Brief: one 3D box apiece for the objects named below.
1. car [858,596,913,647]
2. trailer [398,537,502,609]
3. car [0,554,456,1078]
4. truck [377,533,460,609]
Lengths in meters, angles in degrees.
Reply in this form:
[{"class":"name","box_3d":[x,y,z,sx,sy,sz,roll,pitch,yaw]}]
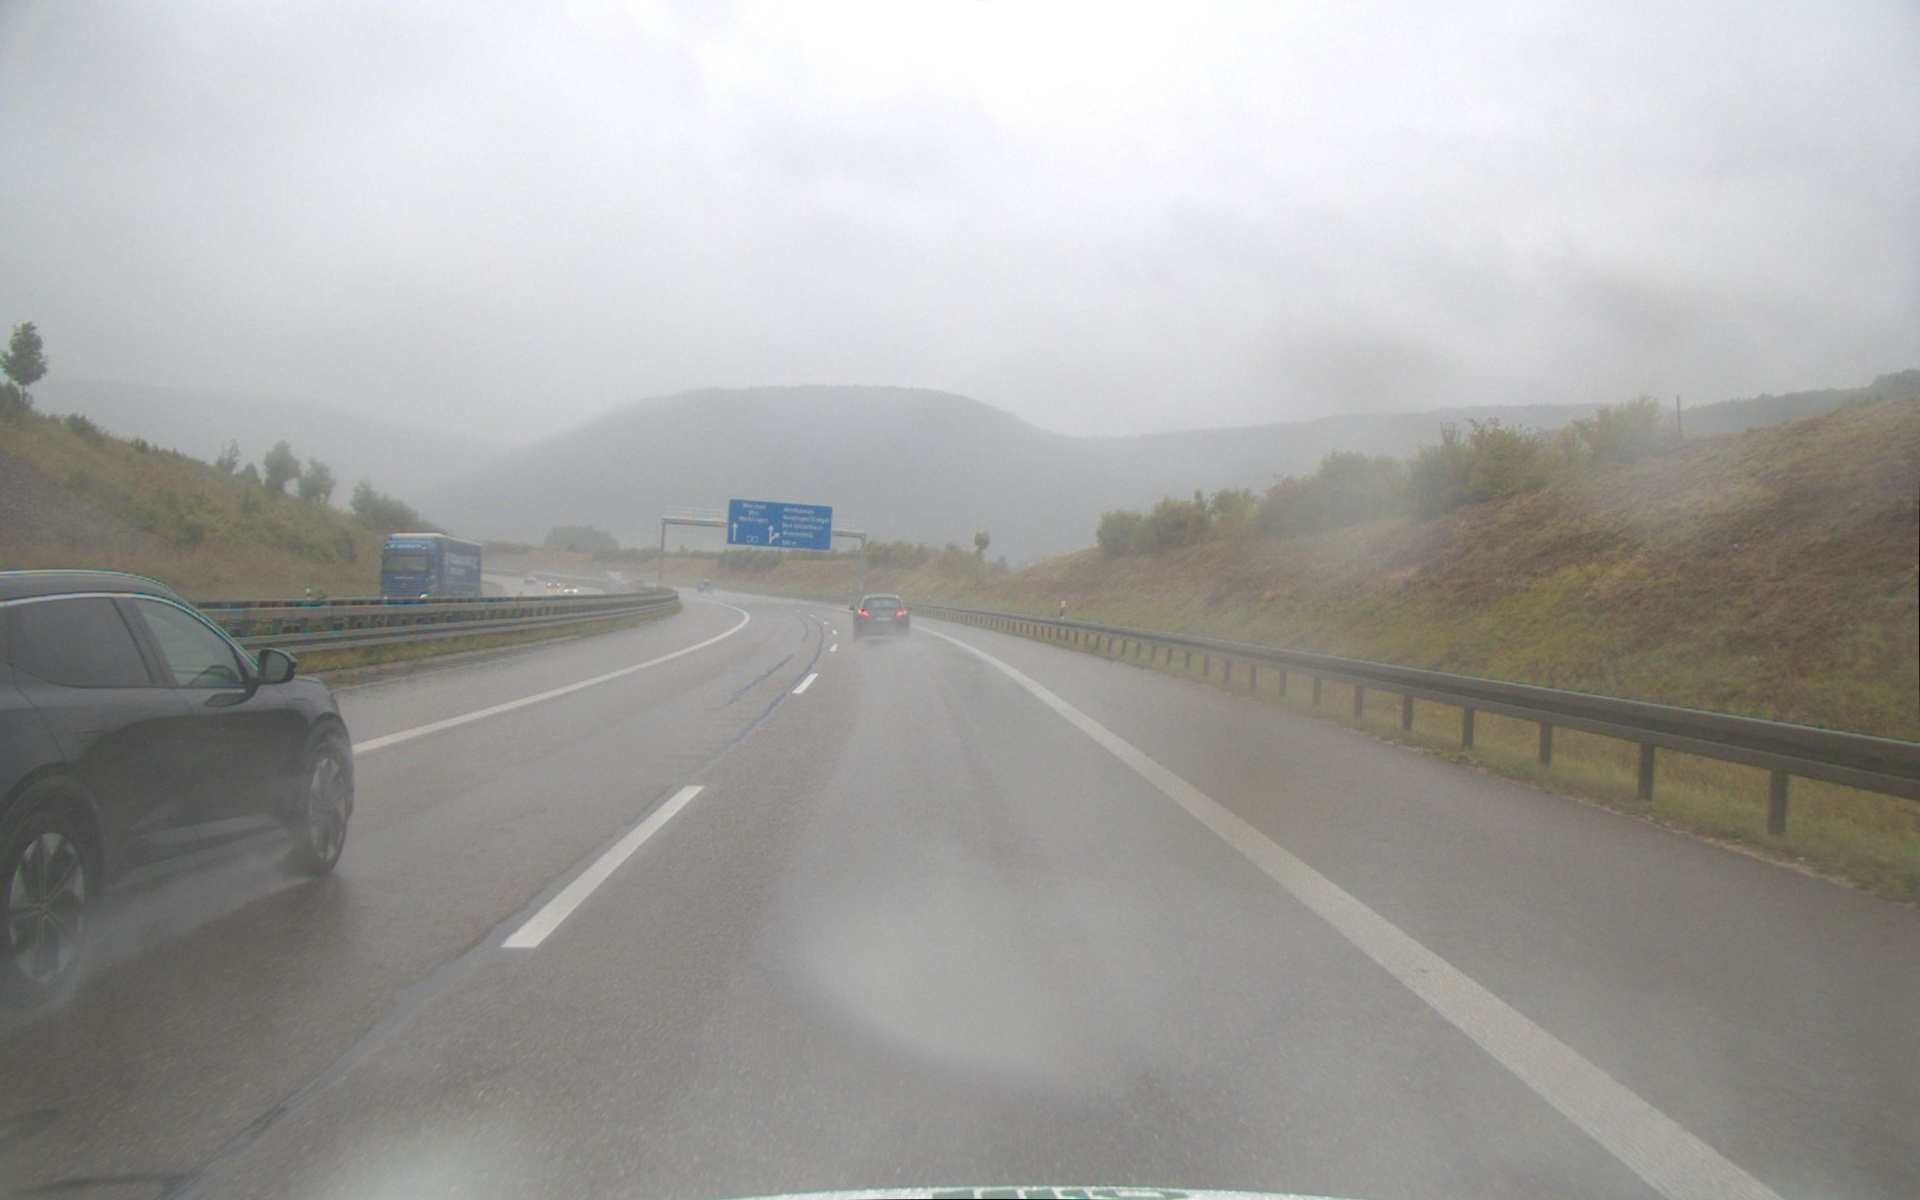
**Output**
[{"class":"car","box_3d":[-2.369,0.655,52.505,1.645,1.498,3.812,2,0,-3]},{"class":"trailer","box_3d":[-28.498,-1.442,93.075,2.758,3.745,13.233,0,0,-5]},{"class":"car","box_3d":[-4.041,0.603,7.199,2.358,1.542,4.781,1,0,-2]},{"class":"truck","box_3d":[-27.824,-1.456,85.231,2.726,3.748,6.200,0,0,-5]}]
